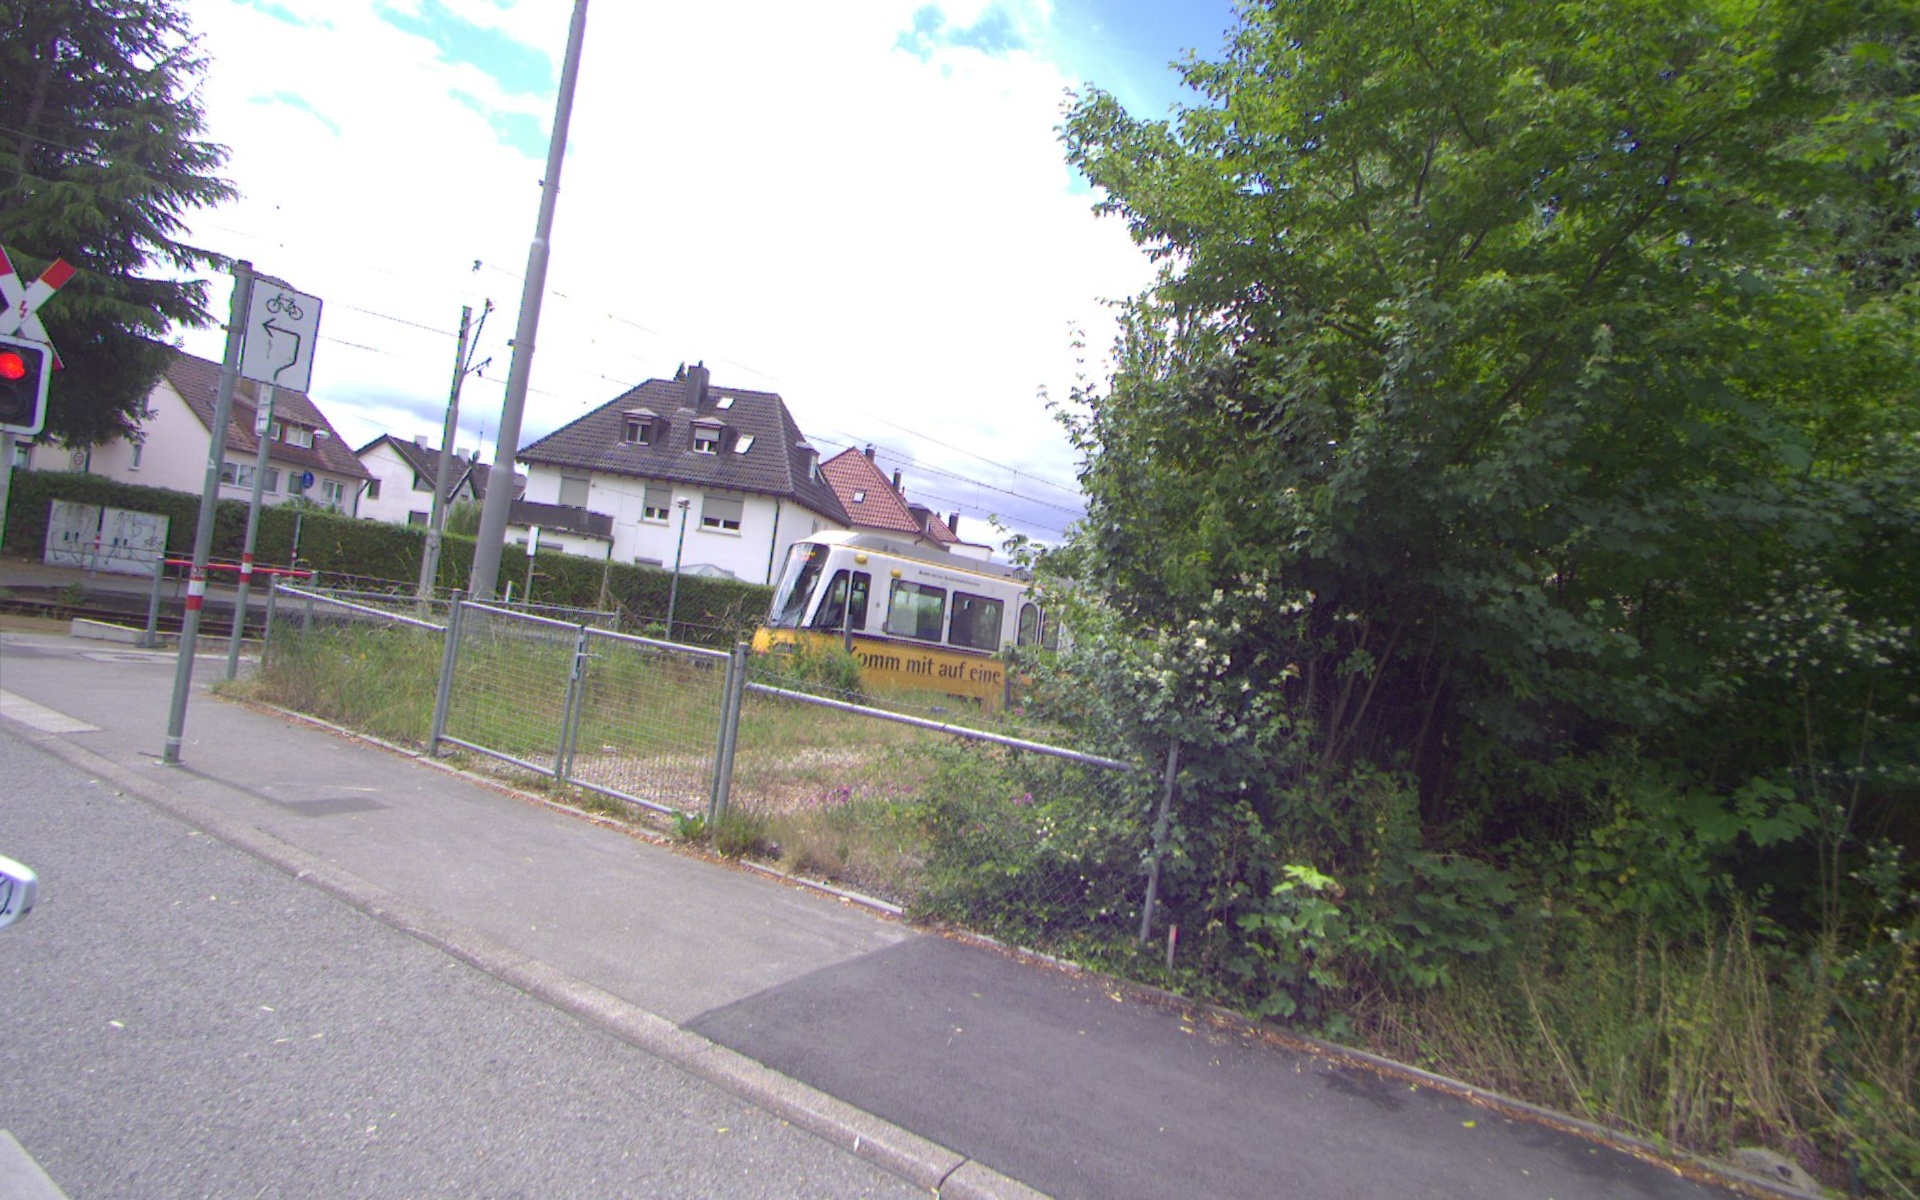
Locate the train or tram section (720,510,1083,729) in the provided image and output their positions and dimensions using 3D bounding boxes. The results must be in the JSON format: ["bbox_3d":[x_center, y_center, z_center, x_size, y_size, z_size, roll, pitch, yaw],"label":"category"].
[{"bbox_3d":[-1.137,0.601,23.146,7.655,3.762,2.842,10,-3,-36],"label":"train or tram section"}]

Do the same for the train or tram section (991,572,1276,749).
[{"bbox_3d":[4.922,1.747,27.680,7.655,3.762,2.842,10,-3,-36],"label":"train or tram section"}]

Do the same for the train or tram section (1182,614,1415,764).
[{"bbox_3d":[10.960,2.925,32.198,7.655,3.762,2.842,10,-3,-36],"label":"train or tram section"}]
